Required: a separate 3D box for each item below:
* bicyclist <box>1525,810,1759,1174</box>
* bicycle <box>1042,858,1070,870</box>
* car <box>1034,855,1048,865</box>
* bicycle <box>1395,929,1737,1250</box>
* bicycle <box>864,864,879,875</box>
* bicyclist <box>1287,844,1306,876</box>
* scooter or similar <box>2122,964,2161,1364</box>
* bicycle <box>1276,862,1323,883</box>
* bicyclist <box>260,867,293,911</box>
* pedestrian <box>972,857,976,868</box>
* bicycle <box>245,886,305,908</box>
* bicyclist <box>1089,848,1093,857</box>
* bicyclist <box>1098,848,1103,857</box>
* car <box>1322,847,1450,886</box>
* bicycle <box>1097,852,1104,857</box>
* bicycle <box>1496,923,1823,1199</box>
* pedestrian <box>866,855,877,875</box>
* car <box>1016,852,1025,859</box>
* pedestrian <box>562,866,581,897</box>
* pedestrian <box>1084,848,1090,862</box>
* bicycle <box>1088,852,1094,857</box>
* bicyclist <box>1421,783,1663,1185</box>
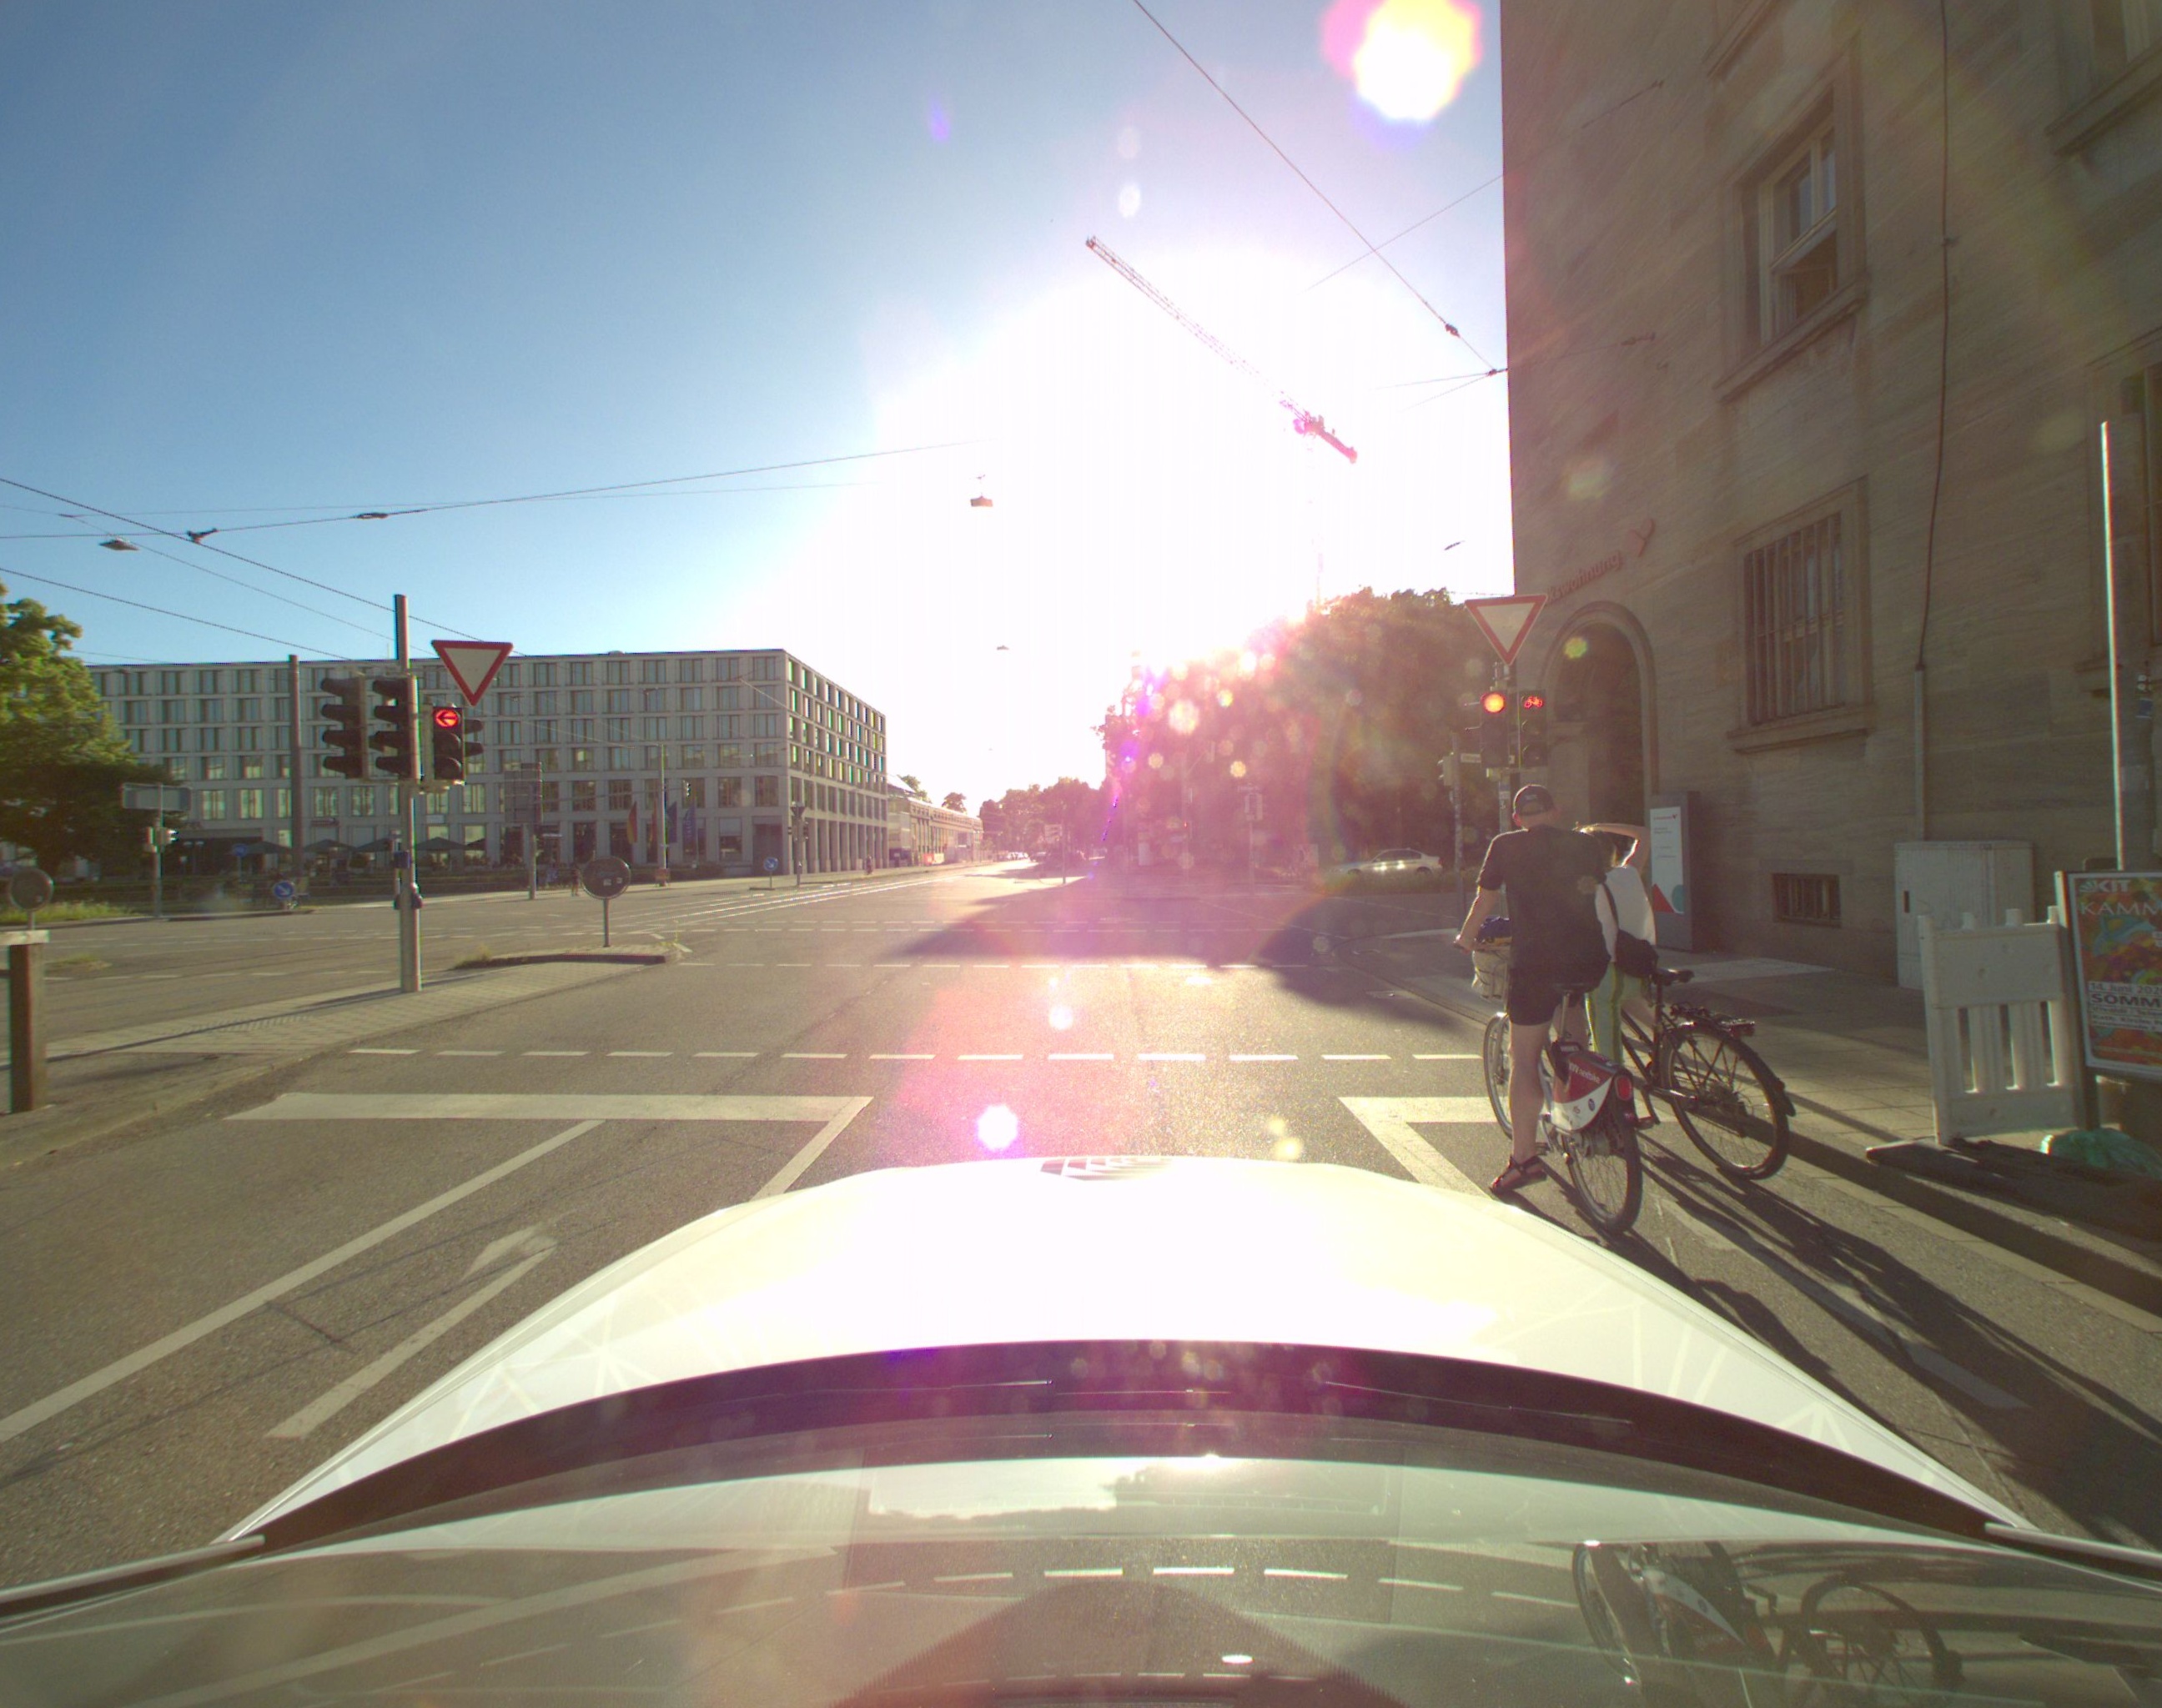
[{"bbox_3d":[2.958,0.663,4.392,0.581,1.738,0.951,-2,0,2],"label":"bicyclist"},{"bbox_3d":[-2.069,0.816,67.451,2.240,0.940,0.653,-2,0,-4],"label":"bicycle"},{"bbox_3d":[-6.470,0.985,132.952,1.986,1.640,4.001,0,-1,2],"label":"car"},{"bbox_3d":[2.186,0.979,3.980,0.621,1.044,1.747,-2,0,1],"label":"bicycle"},{"bbox_3d":[-16.648,1.251,64.710,0.569,0.823,1.722,-2,0,7],"label":"bicycle"},{"bbox_3d":[9.619,0.266,36.319,0.742,1.406,0.704,-1,-1,8],"label":"bicyclist"},{"bbox_3d":[3.312,0.888,1.747,0.570,1.149,1.275,-2,-1,8],"label":"scooter or similar"},{"bbox_3d":[9.712,0.829,36.307,1.932,0.889,0.719,-1,-1,8],"label":"bicycle"},{"bbox_3d":[-32.554,1.407,32.953,0.532,1.761,0.771,-2,0,2],"label":"bicyclist"},{"bbox_3d":[-18.635,1.508,141.309,0.586,1.889,0.478,0,-1,-1],"label":"pedestrian"},{"bbox_3d":[-32.549,1.738,32.934,0.532,0.787,1.853,-2,0,2],"label":"bicycle"},{"bbox_3d":[2.159,-0.276,175.155,0.891,2.014,0.746,0,-1,-10],"label":"bicyclist"},{"bbox_3d":[4.141,-0.286,175.756,0.891,2.014,0.746,0,-1,-10],"label":"bicyclist"},{"bbox_3d":[12.435,0.504,33.438,4.559,1.516,2.001,0,-1,1],"label":"car"},{"bbox_3d":[4.171,0.109,175.591,0.890,1.219,2.784,0,-1,-9],"label":"bicycle"},{"bbox_3d":[2.967,0.978,4.426,0.579,1.044,1.748,-2,0,3],"label":"bicycle"},{"bbox_3d":[-16.668,0.861,64.674,0.569,1.595,0.746,-2,0,6],"label":"pedestrian"},{"bbox_3d":[-14.462,0.297,195.346,1.988,1.644,3.998,-2,0,-1],"label":"car"},{"bbox_3d":[-28.503,1.533,45.566,0.600,1.681,0.608,-2,0,9],"label":"pedestrian"},{"bbox_3d":[0.752,0.152,97.891,0.576,1.689,0.584,-2,0,-6],"label":"pedestrian"},{"bbox_3d":[2.162,0.121,175.107,0.890,1.219,2.784,0,-1,-9],"label":"bicycle"},{"bbox_3d":[2.179,0.559,3.970,0.621,1.715,0.913,-2,0,0],"label":"bicyclist"}]
